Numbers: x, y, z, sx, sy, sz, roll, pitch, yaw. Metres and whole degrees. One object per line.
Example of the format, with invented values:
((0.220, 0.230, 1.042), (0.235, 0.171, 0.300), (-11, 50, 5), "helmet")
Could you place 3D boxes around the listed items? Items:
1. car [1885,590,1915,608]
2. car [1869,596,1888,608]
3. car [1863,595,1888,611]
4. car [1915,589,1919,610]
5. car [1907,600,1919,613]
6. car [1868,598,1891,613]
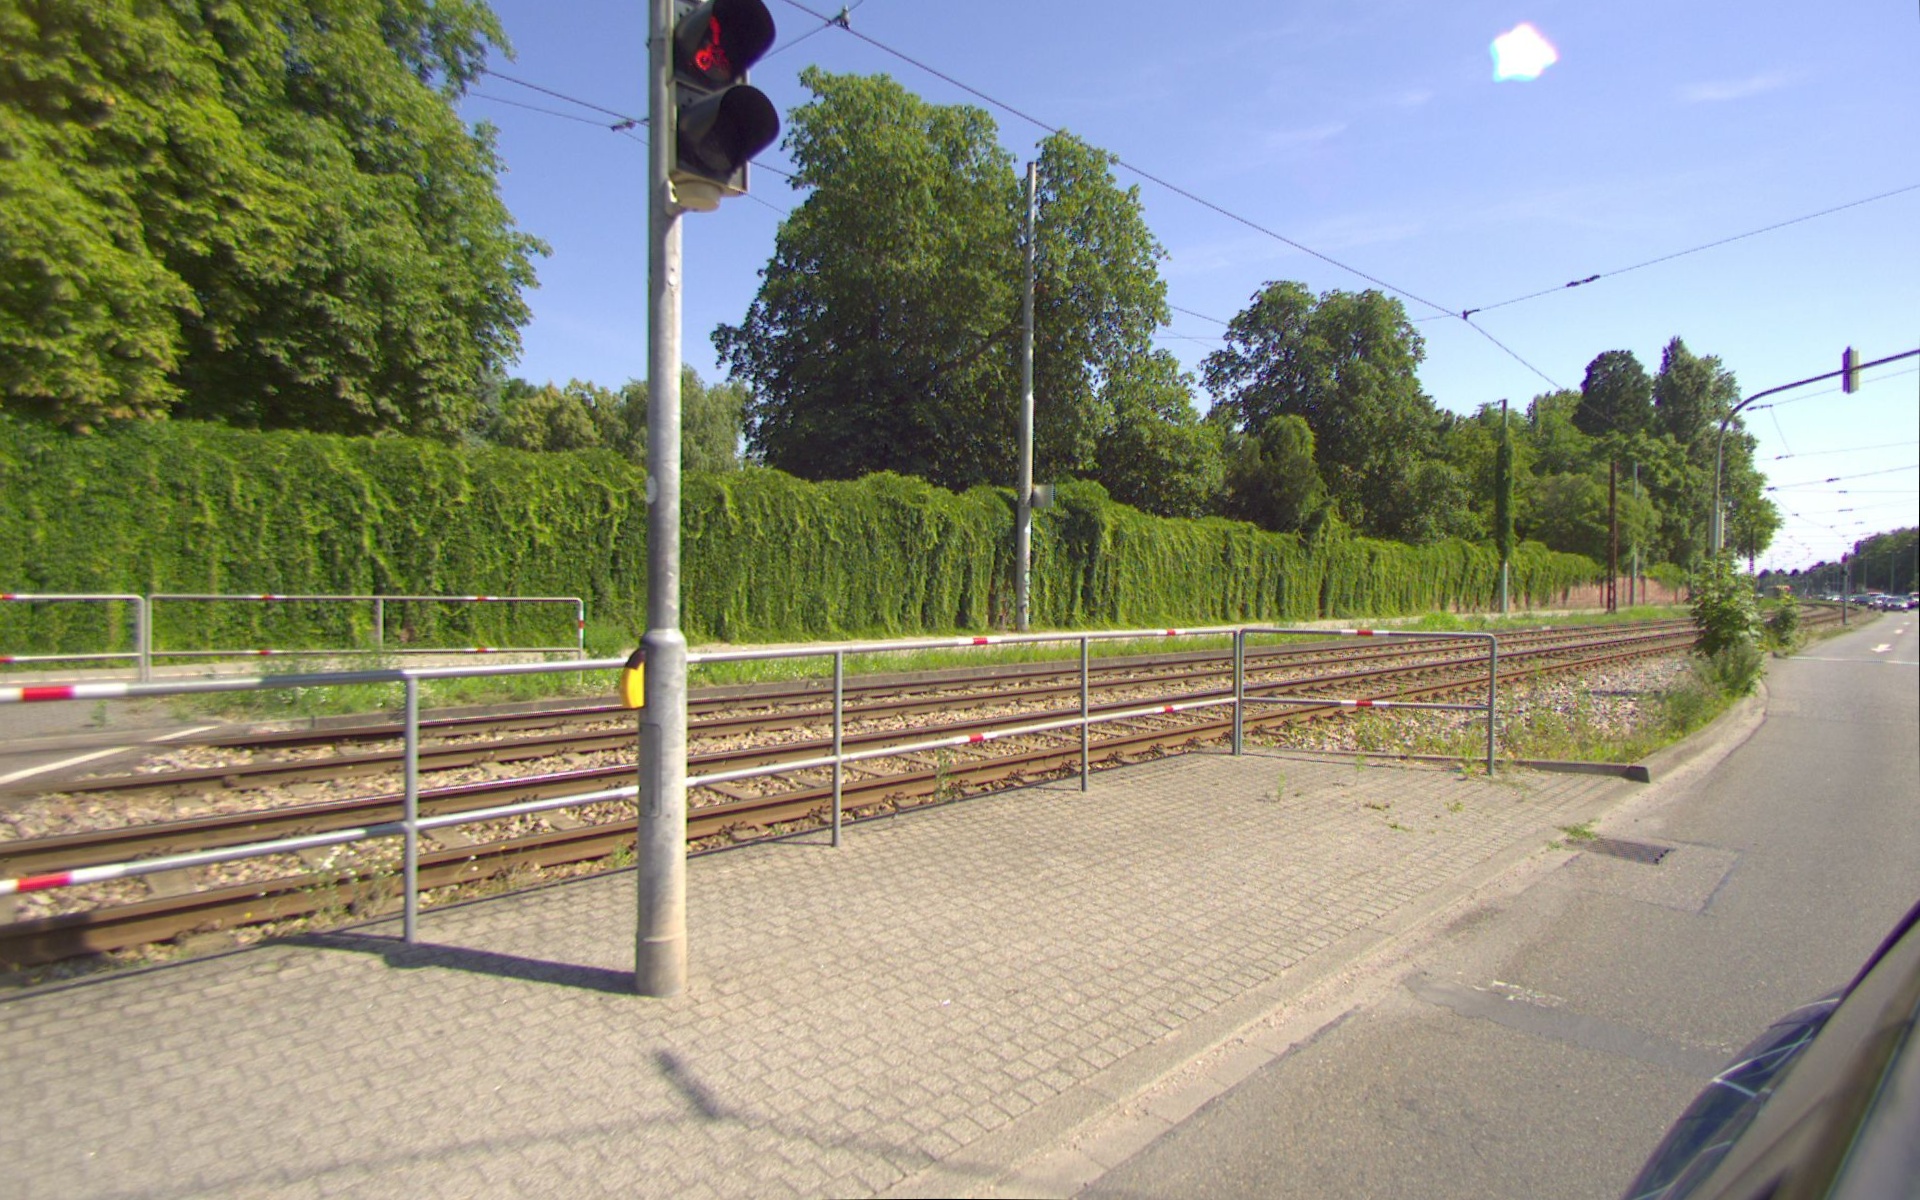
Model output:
((88.940, -0.096, 95.782), (1.924, 1.622, 4.401), (1, 1, 42), "car")
((129.169, 0.216, 142.338), (1.925, 1.622, 4.400), (1, 1, 42), "car")
((98.880, 0.338, 109.299), (1.925, 1.622, 4.400), (1, 1, 42), "car")
((111.183, -0.085, 116.128), (2.258, 2.379, 5.149), (1, 1, 43), "car")
((123.409, 0.792, 130.326), (1.925, 1.622, 4.400), (1, 1, 42), "car")
((108.160, 0.609, 119.070), (1.925, 1.622, 4.400), (1, 1, 42), "car")
